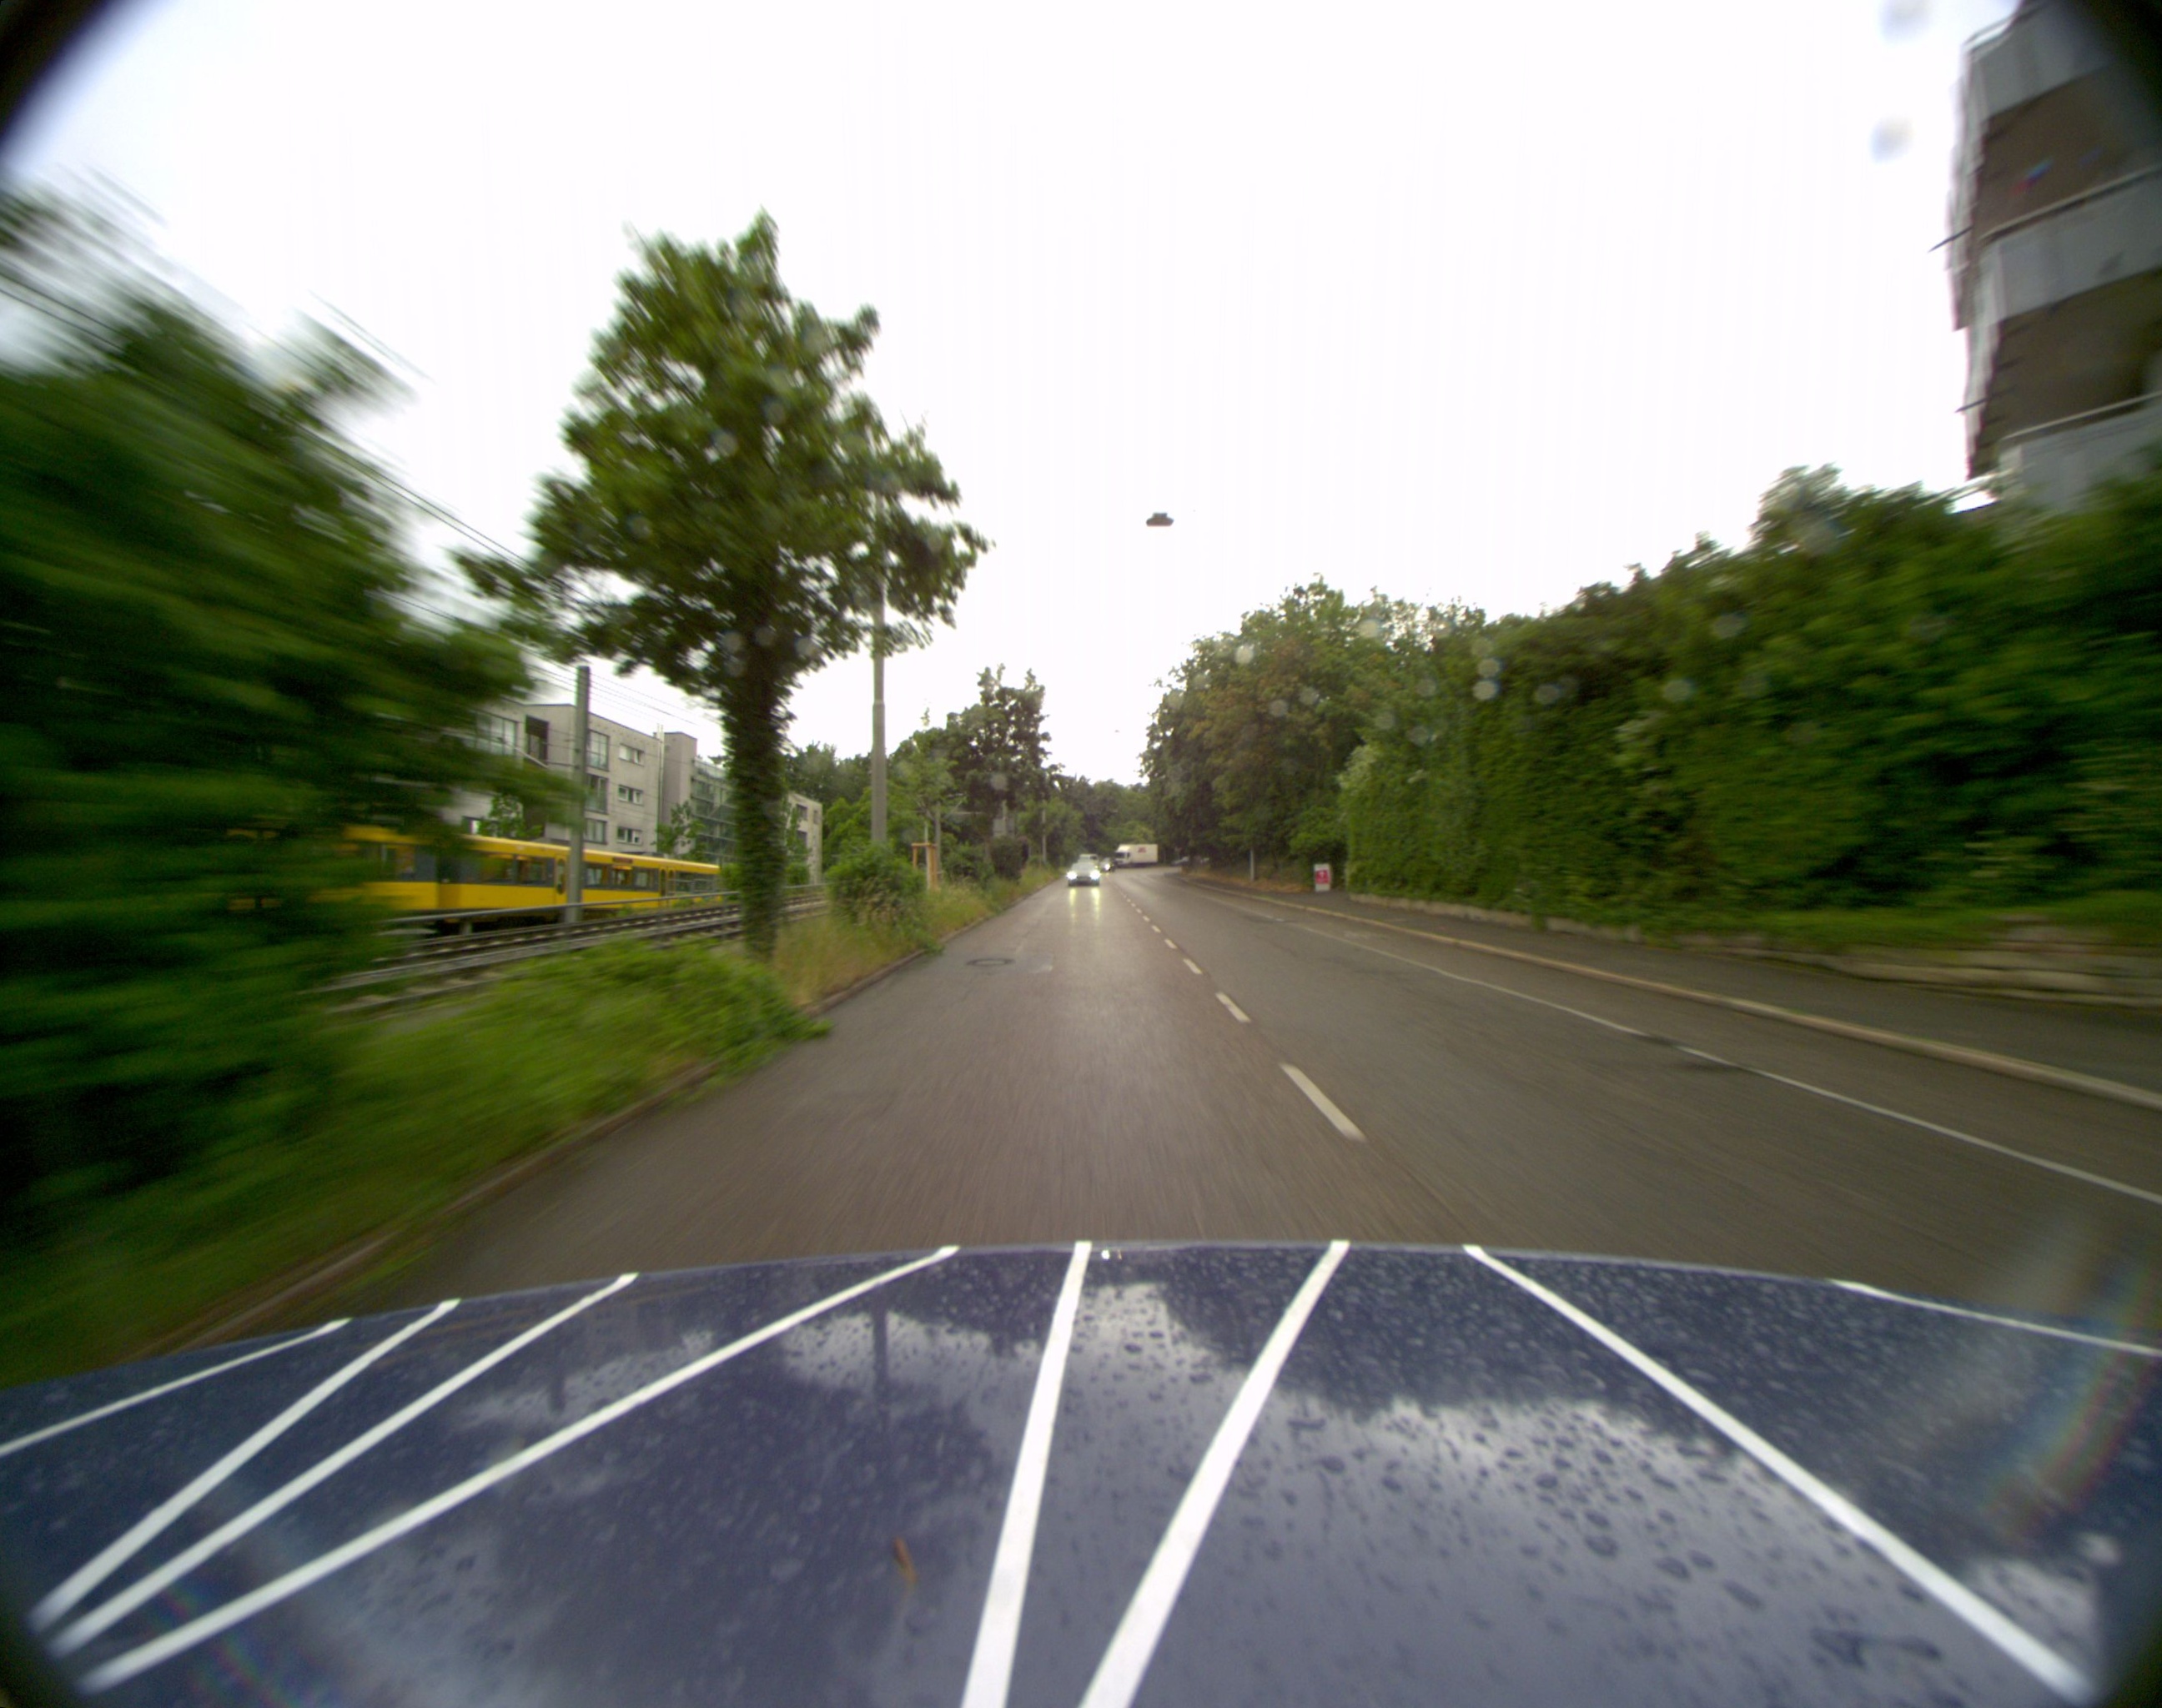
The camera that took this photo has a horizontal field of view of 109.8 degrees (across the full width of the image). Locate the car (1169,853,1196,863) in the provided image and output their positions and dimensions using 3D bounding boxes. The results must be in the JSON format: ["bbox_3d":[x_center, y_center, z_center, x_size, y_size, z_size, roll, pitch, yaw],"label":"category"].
[{"bbox_3d":[16.096,0.617,120.519,4.132,1.435,1.721,-2,0,-38],"label":"car"}]

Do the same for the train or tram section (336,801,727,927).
[{"bbox_3d":[-21.949,0.326,33.781,3.339,3.924,19.279,-1,0,0],"label":"train or tram section"}]

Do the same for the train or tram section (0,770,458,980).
[{"bbox_3d":[-21.875,0.429,15.163,3.339,3.924,18.809,-1,1,0],"label":"train or tram section"}]

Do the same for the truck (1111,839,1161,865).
[{"bbox_3d":[8.150,-0.261,112.194,3.008,3.553,8.352,-1,1,39],"label":"truck"}]

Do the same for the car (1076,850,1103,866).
[{"bbox_3d":[1.199,0.507,100.063,1.878,2.002,4.698,1,1,23],"label":"car"}]

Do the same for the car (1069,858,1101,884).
[{"bbox_3d":[0.299,1.039,47.927,1.898,1.530,4.500,-1,0,1],"label":"car"}]

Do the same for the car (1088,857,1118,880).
[{"bbox_3d":[1.752,1.104,59.545,1.998,1.660,4.532,-1,0,6],"label":"car"}]
